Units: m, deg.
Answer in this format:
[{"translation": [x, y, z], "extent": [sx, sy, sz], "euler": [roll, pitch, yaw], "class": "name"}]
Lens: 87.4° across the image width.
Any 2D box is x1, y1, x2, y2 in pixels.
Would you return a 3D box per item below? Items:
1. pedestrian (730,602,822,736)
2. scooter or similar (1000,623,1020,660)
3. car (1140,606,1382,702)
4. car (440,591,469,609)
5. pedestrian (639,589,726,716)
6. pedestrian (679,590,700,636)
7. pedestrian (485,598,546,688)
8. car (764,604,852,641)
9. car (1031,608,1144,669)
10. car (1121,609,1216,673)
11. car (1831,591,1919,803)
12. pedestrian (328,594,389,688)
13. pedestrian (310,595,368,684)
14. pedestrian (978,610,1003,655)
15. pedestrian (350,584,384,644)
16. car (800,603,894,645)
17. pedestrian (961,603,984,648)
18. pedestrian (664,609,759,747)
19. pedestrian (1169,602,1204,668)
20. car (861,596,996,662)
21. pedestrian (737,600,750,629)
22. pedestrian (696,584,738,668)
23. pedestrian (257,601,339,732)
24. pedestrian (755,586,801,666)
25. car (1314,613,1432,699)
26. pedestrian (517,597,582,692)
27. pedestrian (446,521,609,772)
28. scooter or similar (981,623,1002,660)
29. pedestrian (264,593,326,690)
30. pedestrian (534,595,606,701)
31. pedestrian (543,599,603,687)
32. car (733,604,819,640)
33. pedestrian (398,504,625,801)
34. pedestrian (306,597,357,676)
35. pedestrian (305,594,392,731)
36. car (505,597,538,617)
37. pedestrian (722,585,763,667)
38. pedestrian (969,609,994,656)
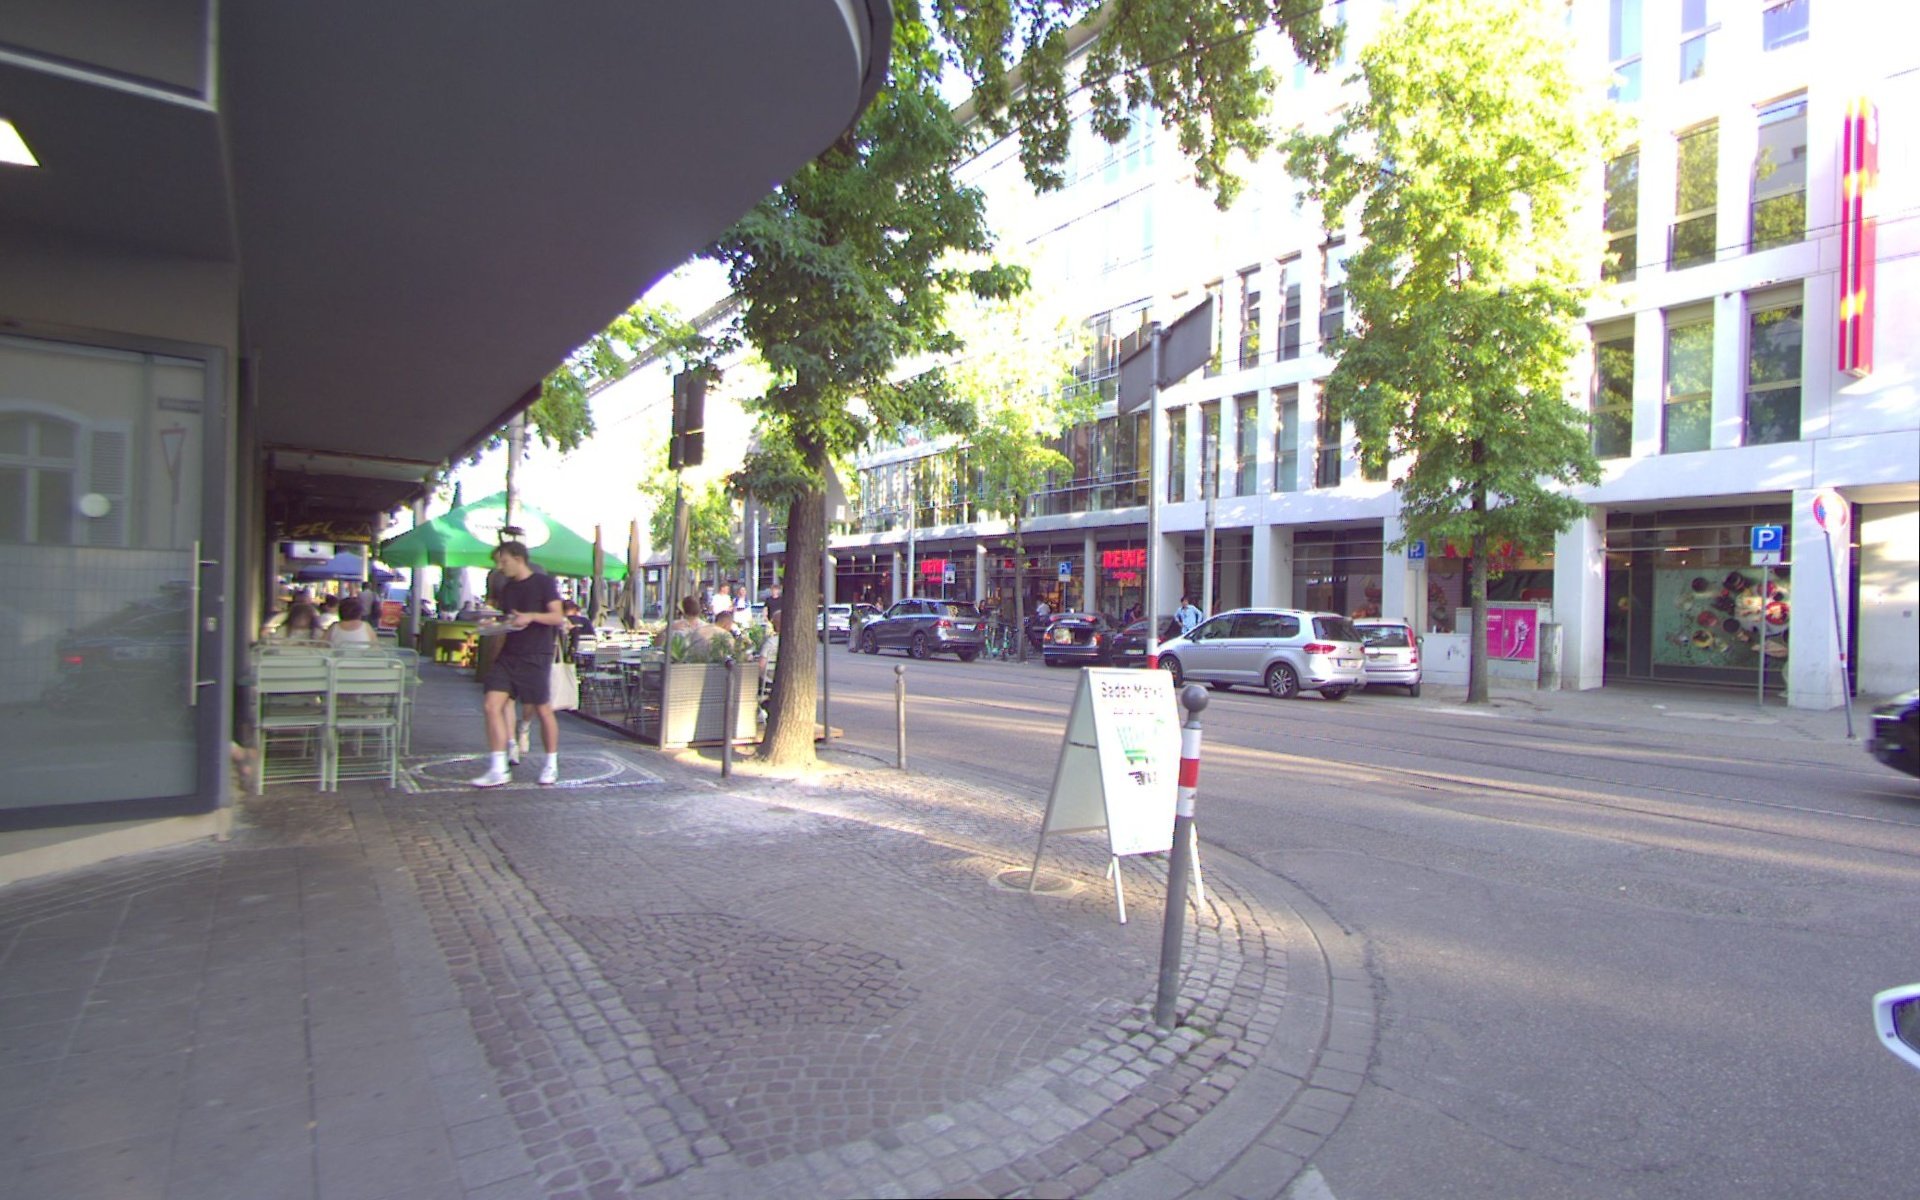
[{"translation": [-2.018, 0.727, 11.004], "extent": [0.725, 1.377, 0.705], "euler": [1, 2, -38], "class": "pedestrian"}, {"translation": [1.574, 1.288, 31.295], "extent": [0.382, 1.085, 1.807], "euler": [1, 0, 9], "class": "scooter or similar"}, {"translation": [5.737, 0.986, 19.570], "extent": [1.812, 1.613, 4.239], "euler": [4, -2, -37], "class": "car"}, {"translation": [-50.232, 0.028, 99.770], "extent": [1.914, 1.662, 3.680], "euler": [1, -1, -39], "class": "car"}, {"translation": [-3.196, 0.581, 11.564], "extent": [0.725, 1.377, 0.705], "euler": [1, 2, -38], "class": "pedestrian"}, {"translation": [-12.175, 0.580, 45.275], "extent": [0.643, 2.040, 0.787], "euler": [1, 0, -37], "class": "pedestrian"}, {"translation": [-7.114, 0.670, 16.079], "extent": [0.725, 1.377, 0.705], "euler": [1, 2, -38], "class": "pedestrian"}, {"translation": [-6.850, 1.005, 45.635], "extent": [1.916, 1.526, 3.991], "euler": [-1, 1, 28], "class": "car"}, {"translation": [3.754, 1.060, 28.987], "extent": [1.916, 1.526, 3.991], "euler": [-1, 1, 28], "class": "car"}, {"translation": [5.795, 1.075, 27.617], "extent": [1.561, 1.526, 3.586], "euler": [-1, 1, 28], "class": "car"}, {"translation": [9.840, 0.858, 7.346], "extent": [2.001, 1.749, 4.898], "euler": [2, 0, -34], "class": "car"}, {"translation": [-8.540, 0.569, 14.249], "extent": [0.648, 1.277, 0.666], "euler": [1, 2, -38], "class": "pedestrian"}, {"translation": [-9.277, 0.575, 14.994], "extent": [0.648, 1.277, 0.666], "euler": [1, 2, -38], "class": "pedestrian"}, {"translation": [1.121, 1.184, 36.743], "extent": [0.603, 1.649, 0.639], "euler": [1, 0, 42], "class": "pedestrian"}, {"translation": [-16.282, 0.385, 27.588], "extent": [0.703, 1.628, 0.871], "euler": [1, 0, -37], "class": "pedestrian"}, {"translation": [-4.605, 0.973, 41.610], "extent": [1.916, 1.526, 3.991], "euler": [-1, 1, 28], "class": "car"}, {"translation": [0.468, 0.954, 37.854], "extent": [0.607, 1.649, 0.634], "euler": [1, 0, -44], "class": "pedestrian"}, {"translation": [-2.606, 0.782, 10.507], "extent": [0.707, 1.346, 0.723], "euler": [1, 2, -38], "class": "pedestrian"}, {"translation": [5.724, 0.872, 25.374], "extent": [0.631, 1.649, 0.641], "euler": [1, 0, 35], "class": "pedestrian"}, {"translation": [-1.013, 0.822, 29.907], "extent": [1.852, 1.760, 4.239], "euler": [4, -2, -37], "class": "car"}, {"translation": [-13.838, 0.932, 64.123], "extent": [0.591, 1.864, 0.607], "euler": [1, 0, -37], "class": "pedestrian"}, {"translation": [-5.739, 0.608, 23.696], "extent": [0.704, 1.927, 1.061], "euler": [1, -1, -28], "class": "pedestrian"}, {"translation": [-6.862, 0.668, 10.409], "extent": [0.648, 1.277, 0.666], "euler": [1, 2, -38], "class": "pedestrian"}, {"translation": [-4.495, 0.644, 24.763], "extent": [0.816, 1.927, 1.061], "euler": [1, -1, -28], "class": "pedestrian"}, {"translation": [8.956, 1.130, 21.592], "extent": [1.916, 1.526, 3.991], "euler": [-1, 1, 28], "class": "car"}, {"translation": [-6.283, 0.664, 15.364], "extent": [0.725, 1.377, 0.705], "euler": [1, 2, -38], "class": "pedestrian"}, {"translation": [-3.642, 0.370, 8.442], "extent": [1.021, 1.927, 1.058], "euler": [1, -1, -37], "class": "pedestrian"}, {"translation": [0.996, 1.288, 31.561], "extent": [0.382, 1.085, 1.807], "euler": [1, 0, 9], "class": "scooter or similar"}, {"translation": [-9.154, 0.552, 13.824], "extent": [0.648, 1.277, 0.666], "euler": [1, 2, -38], "class": "pedestrian"}, {"translation": [-5.352, 0.639, 13.786], "extent": [0.725, 1.377, 0.705], "euler": [1, 2, -38], "class": "pedestrian"}, {"translation": [-6.369, 0.688, 16.523], "extent": [0.725, 1.377, 0.705], "euler": [1, 2, -38], "class": "pedestrian"}, {"translation": [-8.695, 1.037, 47.699], "extent": [1.916, 1.526, 3.991], "euler": [-1, 1, 28], "class": "car"}, {"translation": [-3.192, 0.349, 7.224], "extent": [1.010, 1.927, 1.068], "euler": [0, -1, 25], "class": "pedestrian"}, {"translation": [-10.634, 0.603, 16.984], "extent": [0.648, 1.277, 0.666], "euler": [1, 2, -38], "class": "pedestrian"}, {"translation": [-6.062, 0.593, 9.949], "extent": [0.648, 1.277, 0.666], "euler": [1, 2, -38], "class": "pedestrian"}, {"translation": [-35.783, 0.567, 81.981], "extent": [1.658, 1.562, 3.464], "euler": [1, 0, -38], "class": "car"}, {"translation": [-5.317, 0.630, 24.486], "extent": [0.704, 1.927, 1.061], "euler": [1, -1, -28], "class": "pedestrian"}, {"translation": [0.770, 1.165, 36.014], "extent": [0.603, 1.649, 0.639], "euler": [1, 0, 42], "class": "pedestrian"}]
